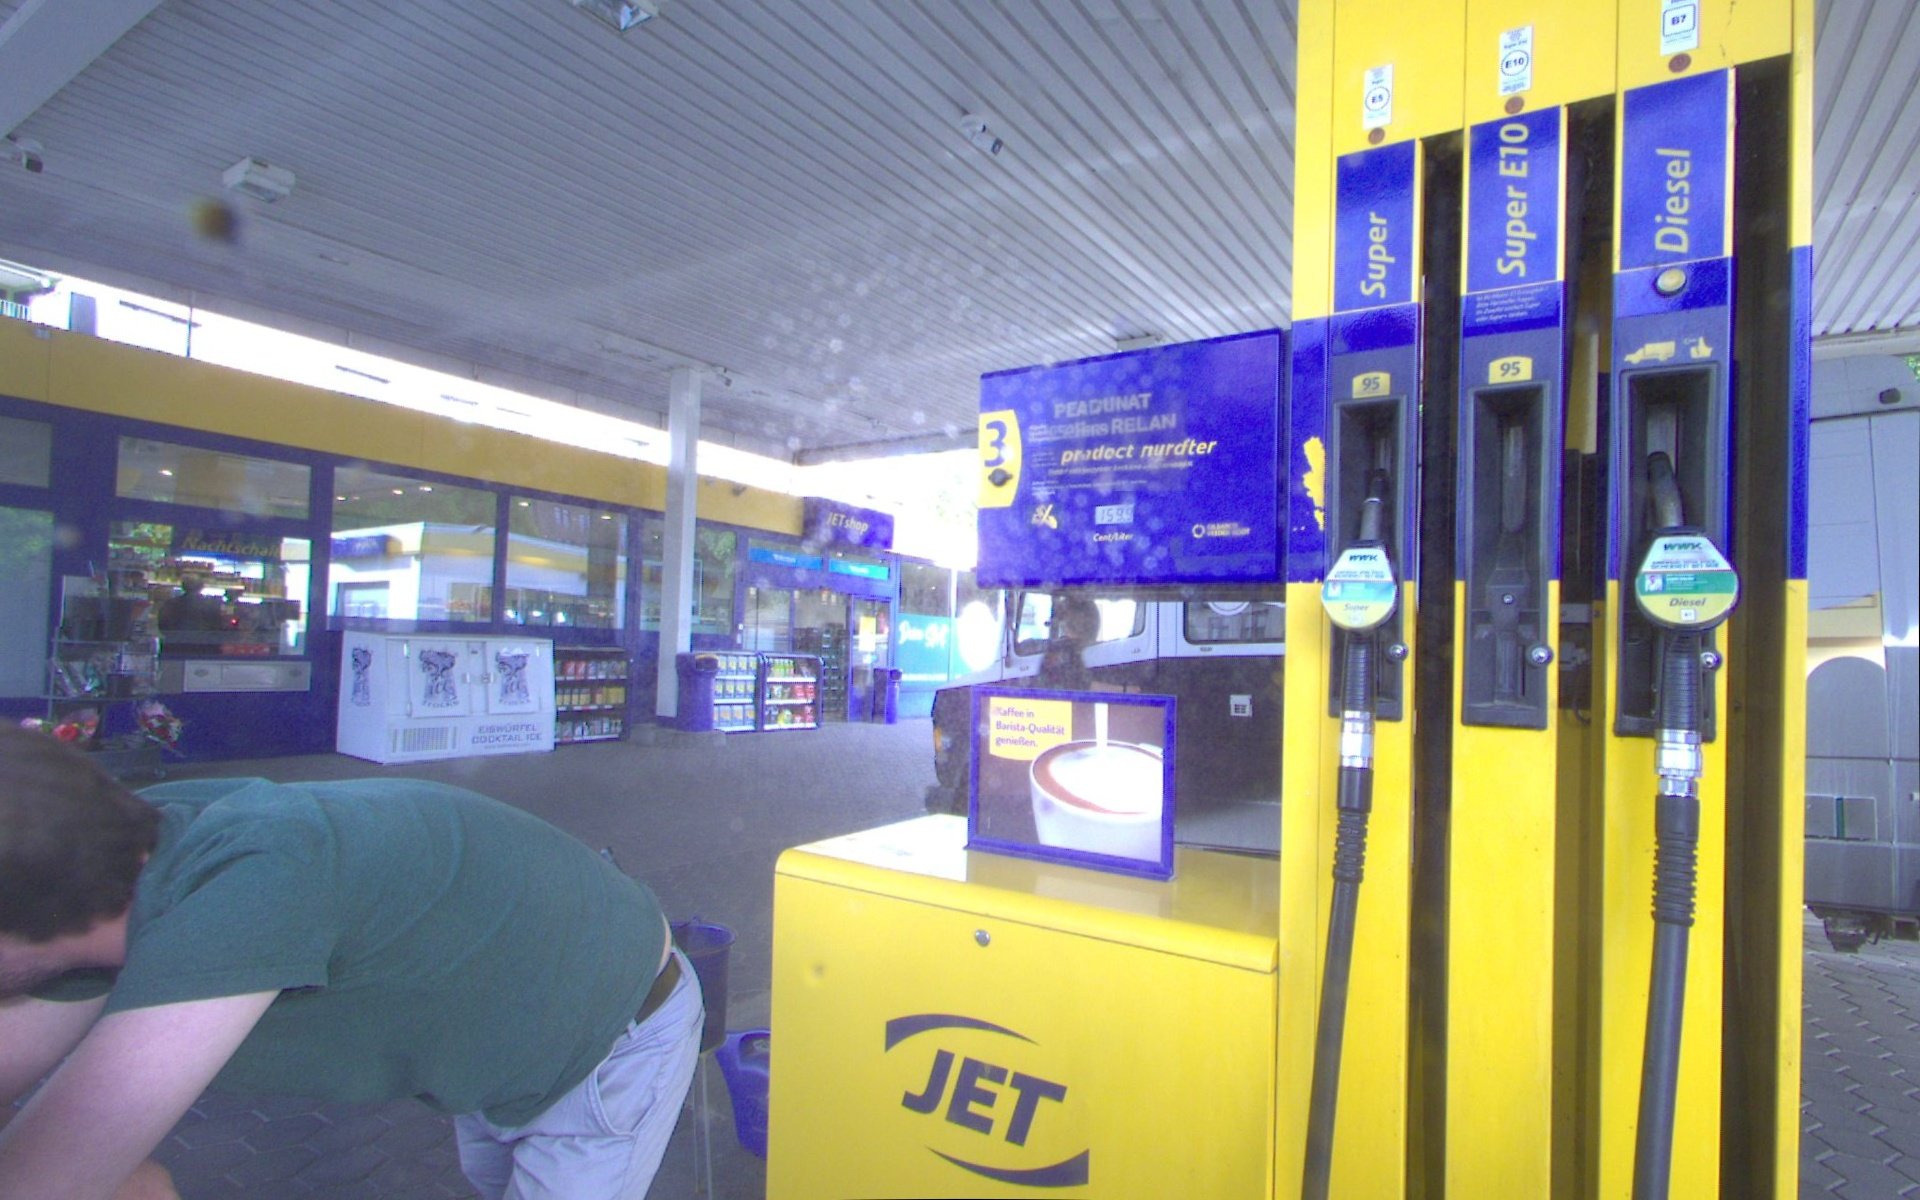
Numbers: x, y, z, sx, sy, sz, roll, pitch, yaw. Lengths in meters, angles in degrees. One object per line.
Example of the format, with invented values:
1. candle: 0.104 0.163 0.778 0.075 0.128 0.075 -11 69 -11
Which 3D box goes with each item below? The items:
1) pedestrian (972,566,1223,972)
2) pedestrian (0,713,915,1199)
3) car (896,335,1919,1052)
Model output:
1. pedestrian: 0.637 0.764 4.998 0.962 1.785 0.979 0 -1 -13
2. pedestrian: -0.528 0.809 1.077 0.664 1.298 0.749 -1 -1 31
3. car: 2.395 0.414 6.022 5.219 2.724 2.250 0 -3 34
